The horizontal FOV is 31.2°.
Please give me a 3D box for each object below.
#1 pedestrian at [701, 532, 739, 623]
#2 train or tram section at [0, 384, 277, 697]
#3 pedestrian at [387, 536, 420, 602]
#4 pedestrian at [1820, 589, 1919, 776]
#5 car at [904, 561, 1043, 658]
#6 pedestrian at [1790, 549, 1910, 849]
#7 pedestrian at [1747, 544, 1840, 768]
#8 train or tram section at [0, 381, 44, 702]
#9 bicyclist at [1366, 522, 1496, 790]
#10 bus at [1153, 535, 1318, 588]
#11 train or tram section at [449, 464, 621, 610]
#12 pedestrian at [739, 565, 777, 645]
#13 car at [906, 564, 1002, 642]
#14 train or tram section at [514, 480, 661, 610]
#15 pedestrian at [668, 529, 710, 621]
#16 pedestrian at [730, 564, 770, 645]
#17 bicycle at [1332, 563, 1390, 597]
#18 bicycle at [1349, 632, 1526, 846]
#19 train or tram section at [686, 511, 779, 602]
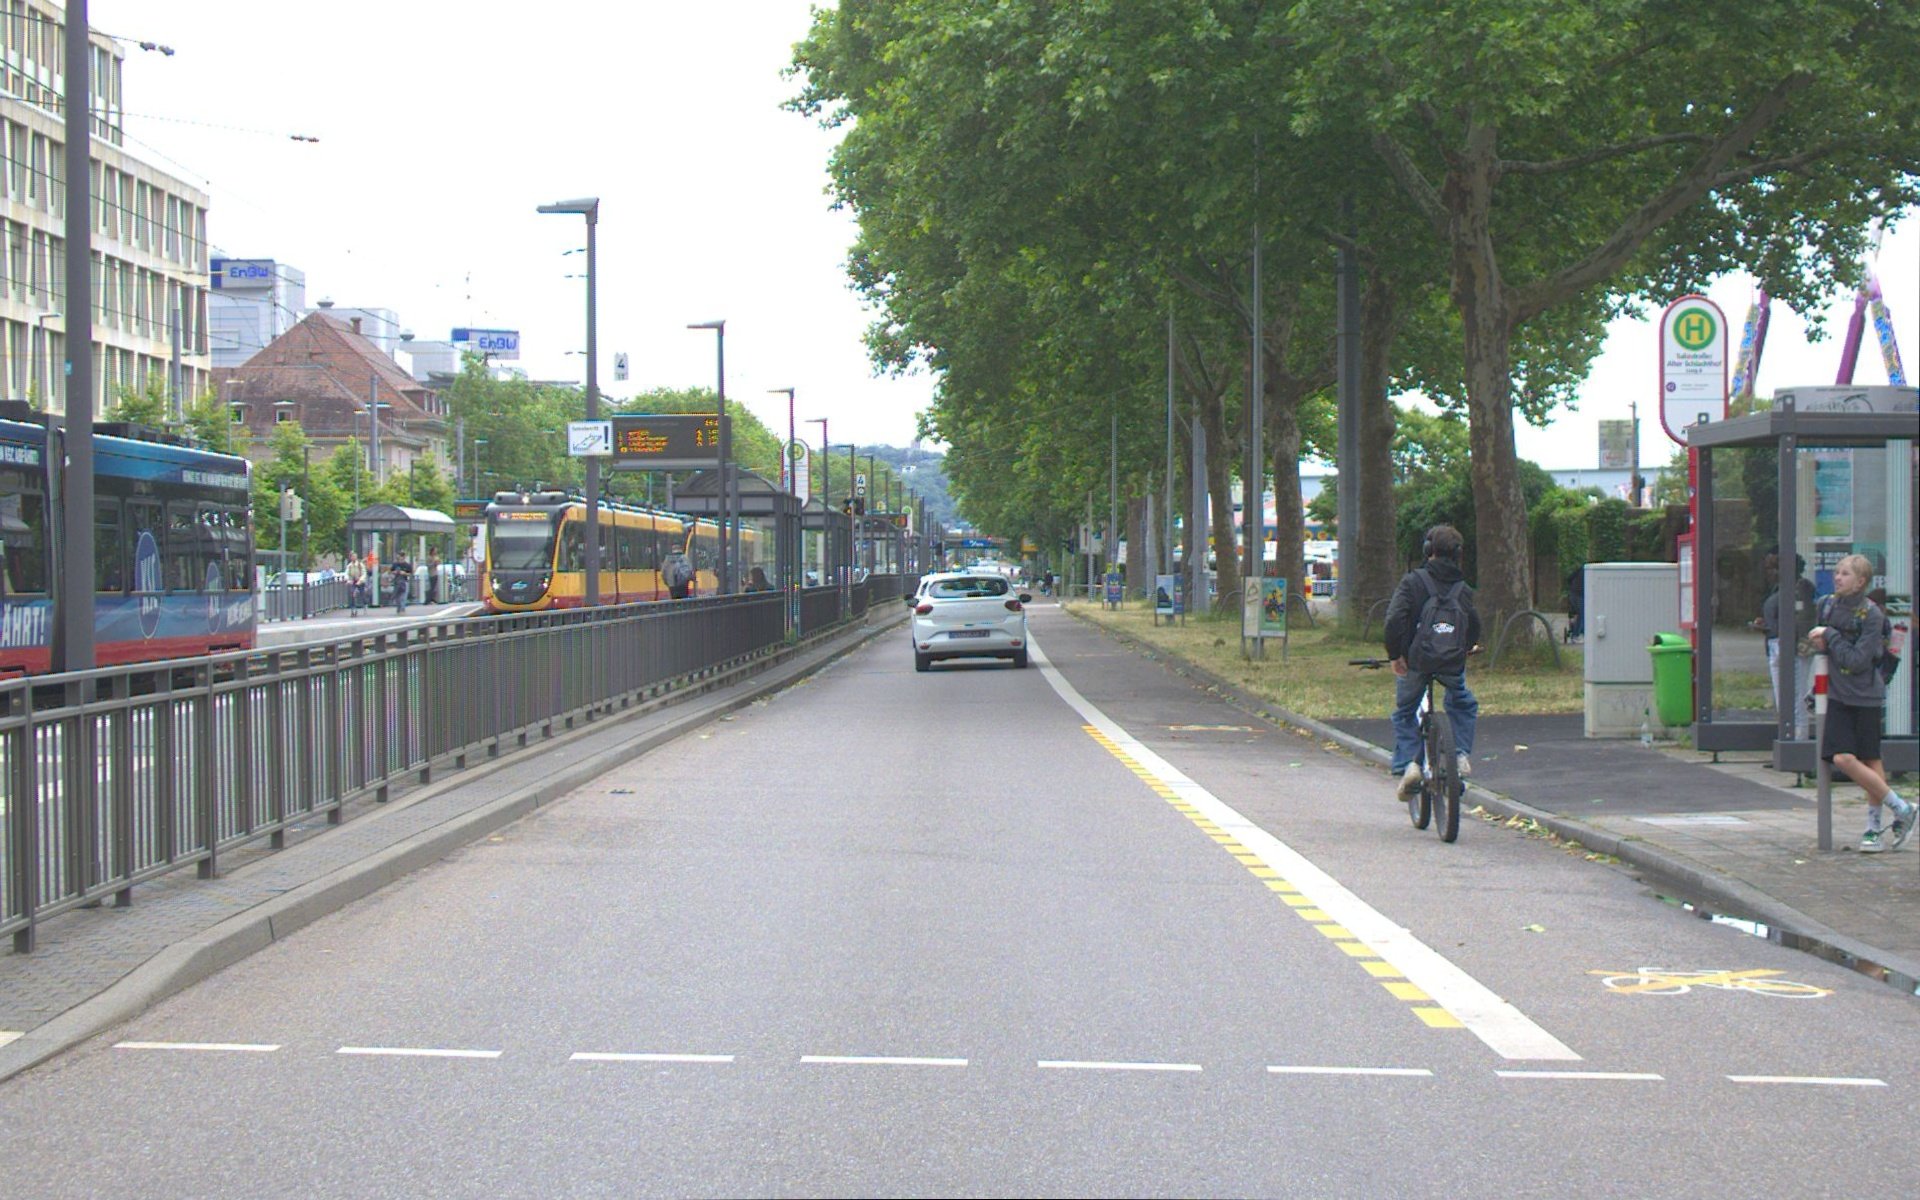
[{"bbox_3d":[-4.774,-0.438,68.318,0.670,1.787,1.113,0,0,-8],"label":"pedestrian"},{"bbox_3d":[-12.151,-0.690,47.328,2.854,3.679,13.521,0,0,0],"label":"train or tram section"},{"bbox_3d":[-15.136,-0.833,93.596,0.711,1.789,1.160,0,0,0],"label":"pedestrian"},{"bbox_3d":[6.107,0.547,23.101,0.476,1.230,0.702,0,0,0],"label":"pedestrian"},{"bbox_3d":[0.251,0.147,54.158,1.885,1.448,3.999,0,0,4],"label":"car"},{"bbox_3d":[4.633,0.505,17.881,0.552,1.523,0.638,0,0,18],"label":"pedestrian"},{"bbox_3d":[5.900,0.390,24.346,0.476,1.558,0.702,0,0,0],"label":"pedestrian"},{"bbox_3d":[-12.223,-0.653,34.722,2.854,3.628,11.700,0,0,0],"label":"train or tram section"},{"bbox_3d":[2.727,0.319,19.956,0.641,1.525,0.664,0,0,-1],"label":"bicyclist"},{"bbox_3d":[15.752,-2.195,196.818,9.276,2.950,2.000,0,0,-1],"label":"bus"},{"bbox_3d":[-11.855,-1.661,96.990,3.237,3.849,11.311,0,0,1],"label":"train or tram section"},{"bbox_3d":[-3.454,0.084,58.810,0.610,1.368,0.600,0,0,1],"label":"pedestrian"},{"bbox_3d":[-0.096,0.044,70.778,1.841,1.547,4.000,0,0,2],"label":"car"},{"bbox_3d":[-11.619,-1.631,108.330,3.163,3.849,11.311,0,0,1],"label":"train or tram section"},{"bbox_3d":[-5.323,-0.491,67.432,0.670,1.787,1.113,0,0,-12],"label":"pedestrian"},{"bbox_3d":[-3.517,0.076,57.525,0.610,1.336,0.600,0,0,1],"label":"pedestrian"},{"bbox_3d":[13.890,-0.687,119.074,1.890,1.101,0.550,-2,0,-1],"label":"bicycle"},{"bbox_3d":[2.740,0.772,19.946,0.652,1.146,2.283,0,0,-1],"label":"bicycle"},{"bbox_3d":[-10.773,-1.989,164.428,3.180,4.165,14.733,0,0,1],"label":"train or tram section"}]
